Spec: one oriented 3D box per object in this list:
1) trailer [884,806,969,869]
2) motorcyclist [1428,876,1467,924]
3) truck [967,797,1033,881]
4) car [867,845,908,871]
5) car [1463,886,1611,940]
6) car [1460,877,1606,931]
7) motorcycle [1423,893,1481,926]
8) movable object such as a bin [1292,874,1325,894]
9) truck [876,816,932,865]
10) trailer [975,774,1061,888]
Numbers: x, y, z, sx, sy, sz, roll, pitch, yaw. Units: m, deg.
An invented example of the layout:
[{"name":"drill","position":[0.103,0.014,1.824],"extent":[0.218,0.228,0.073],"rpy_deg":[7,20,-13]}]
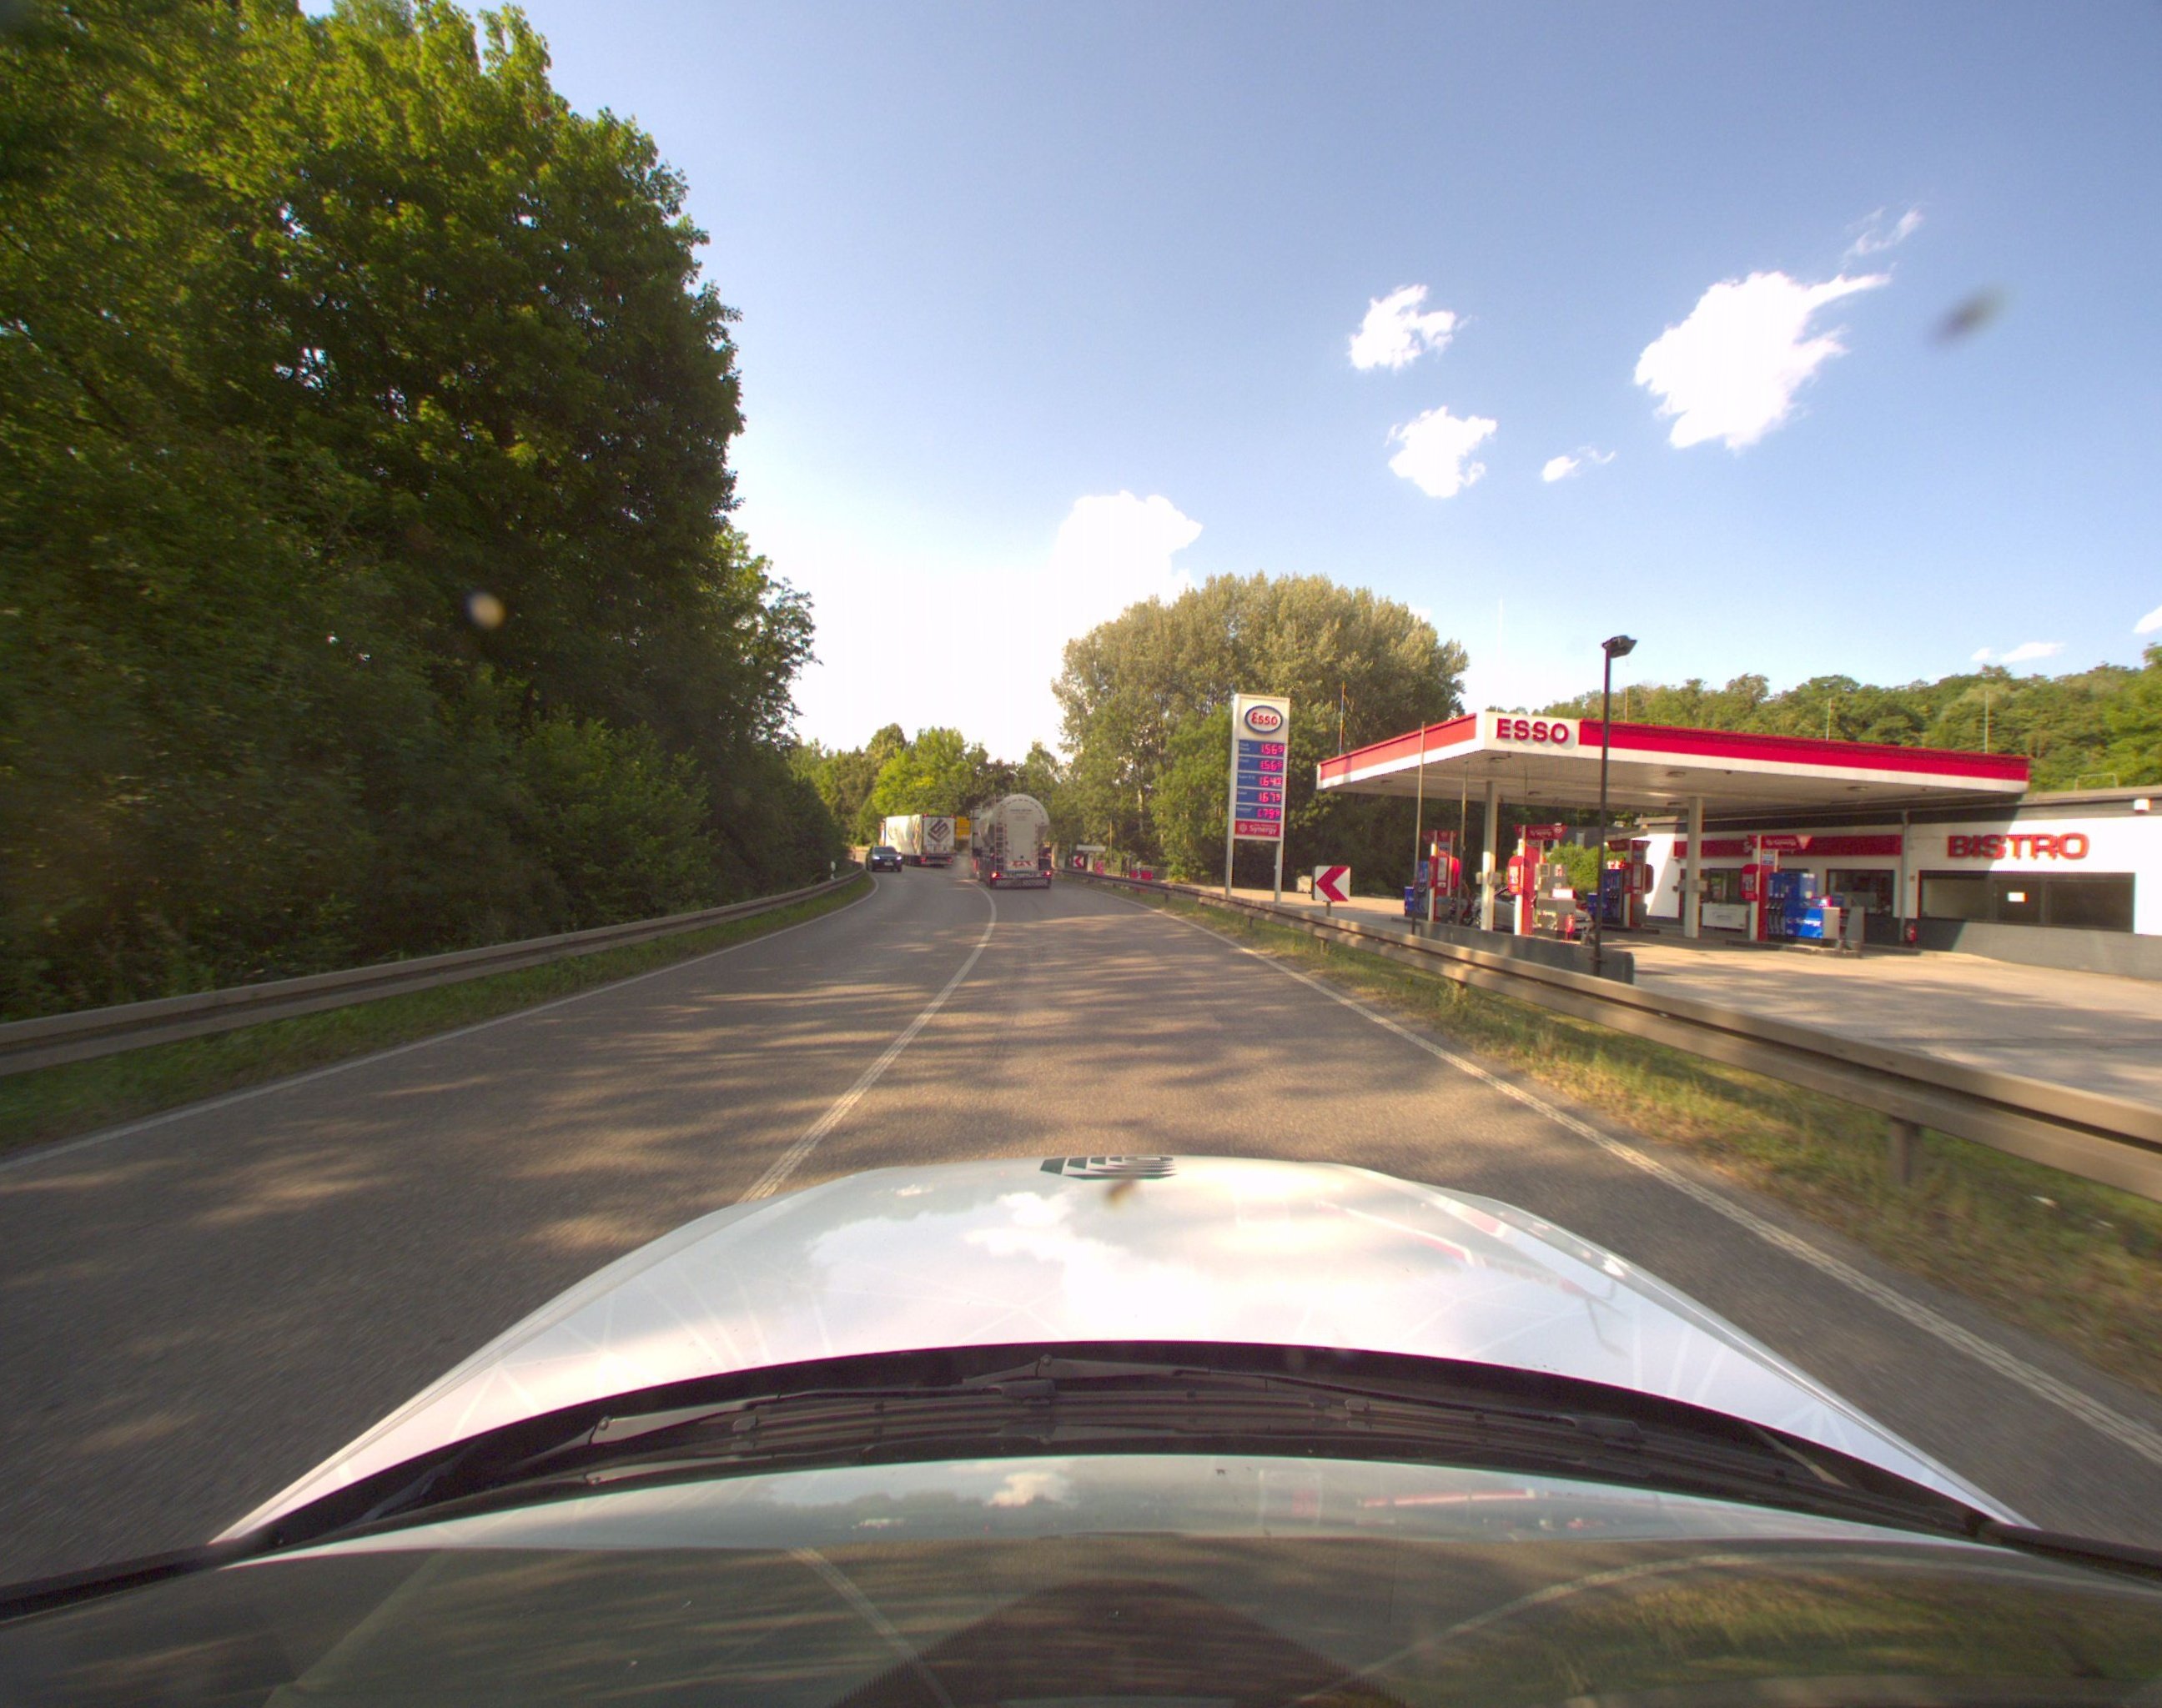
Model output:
[{"name":"trailer","position":[-12.816,-1.295,66.335],"extent":[3.563,4.513,12.876],"rpy_deg":[2,0,-25]},{"name":"motorcyclist","position":[13.027,1.630,28.967],"extent":[0.857,1.605,0.926],"rpy_deg":[2,-1,-6]},{"name":"truck","position":[-4.319,-0.738,42.521],"extent":[2.826,4.034,5.870],"rpy_deg":[0,0,-12]},{"name":"car","position":[-12.812,0.229,53.723],"extent":[1.876,1.653,4.514],"rpy_deg":[-1,1,-23]},{"name":"car","position":[13.996,1.773,25.322],"extent":[1.840,1.319,4.381],"rpy_deg":[2,0,-5]},{"name":"car","position":[16.550,1.785,30.200],"extent":[2.090,1.628,5.168],"rpy_deg":[2,0,-7]},{"name":"motorcycle","position":[13.032,1.937,28.724],"extent":[0.761,1.012,2.336],"rpy_deg":[2,0,-6]},{"name":"movable object such as a bin","position":[18.875,2.481,67.609],"extent":[1.270,1.420,2.540],"rpy_deg":[5,-1,-20]},{"name":"truck","position":[-15.954,-1.175,72.956],"extent":[3.467,4.086,6.438],"rpy_deg":[2,0,-25]},{"name":"trailer","position":[-3.086,-0.911,36.890],"extent":[2.887,4.454,9.571],"rpy_deg":[0,0,-11]}]
